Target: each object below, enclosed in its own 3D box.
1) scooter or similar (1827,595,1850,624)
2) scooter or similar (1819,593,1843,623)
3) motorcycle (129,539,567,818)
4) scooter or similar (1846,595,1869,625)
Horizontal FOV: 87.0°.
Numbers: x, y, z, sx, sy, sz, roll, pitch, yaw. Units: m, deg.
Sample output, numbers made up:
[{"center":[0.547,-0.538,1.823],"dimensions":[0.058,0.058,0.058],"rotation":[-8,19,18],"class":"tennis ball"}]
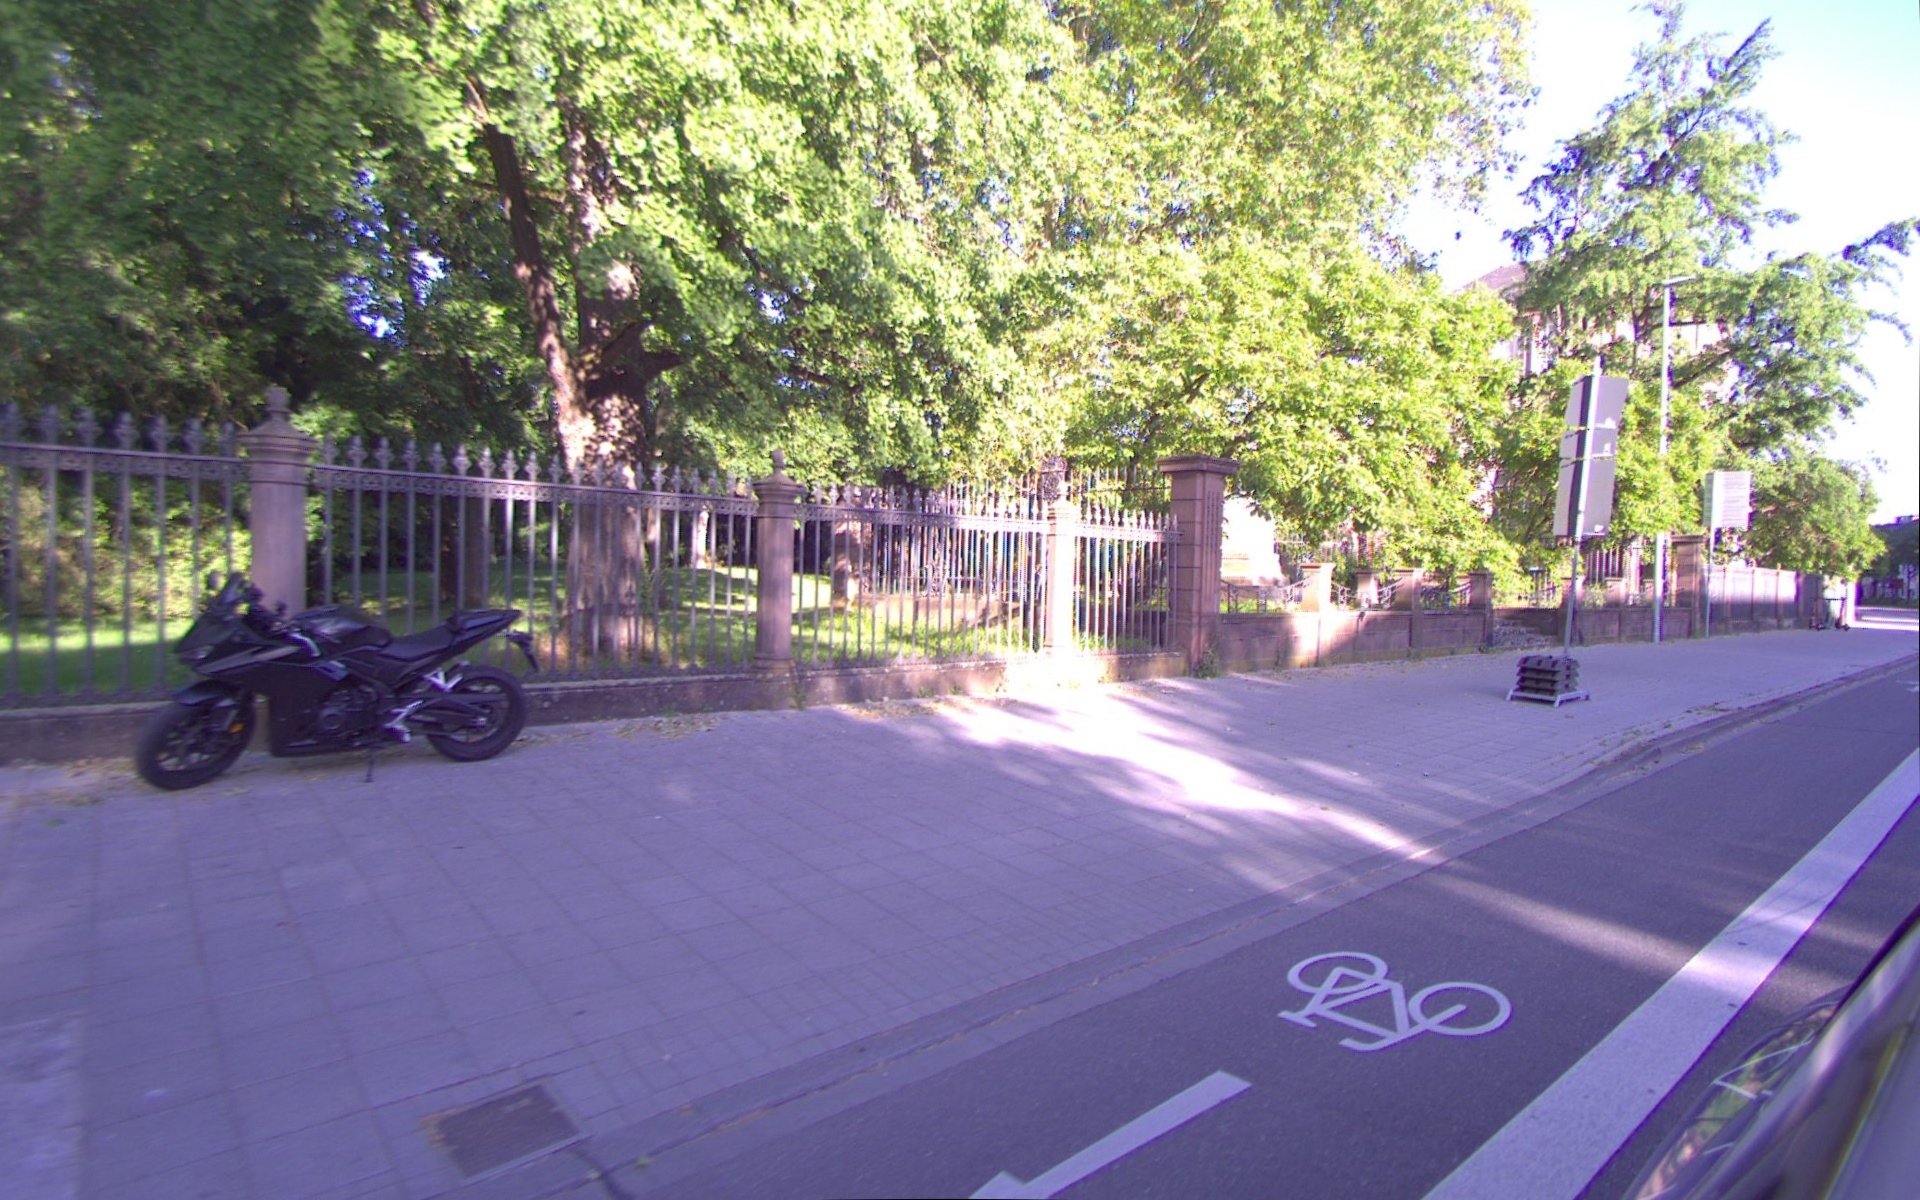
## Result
[{"center":[32.708,0.348,37.662],"dimensions":[1.748,1.054,0.415],"rotation":[-1,0,-41],"class":"scooter or similar"},{"center":[31.114,0.283,36.150],"dimensions":[1.748,1.054,0.415],"rotation":[-1,0,-41],"class":"scooter or similar"},{"center":[-3.403,0.344,5.730],"dimensions":[2.002,1.309,0.906],"rotation":[0,2,-41],"class":"motorcycle"},{"center":[33.000,0.351,37.198],"dimensions":[1.748,1.054,0.415],"rotation":[-1,0,-41],"class":"scooter or similar"}]
